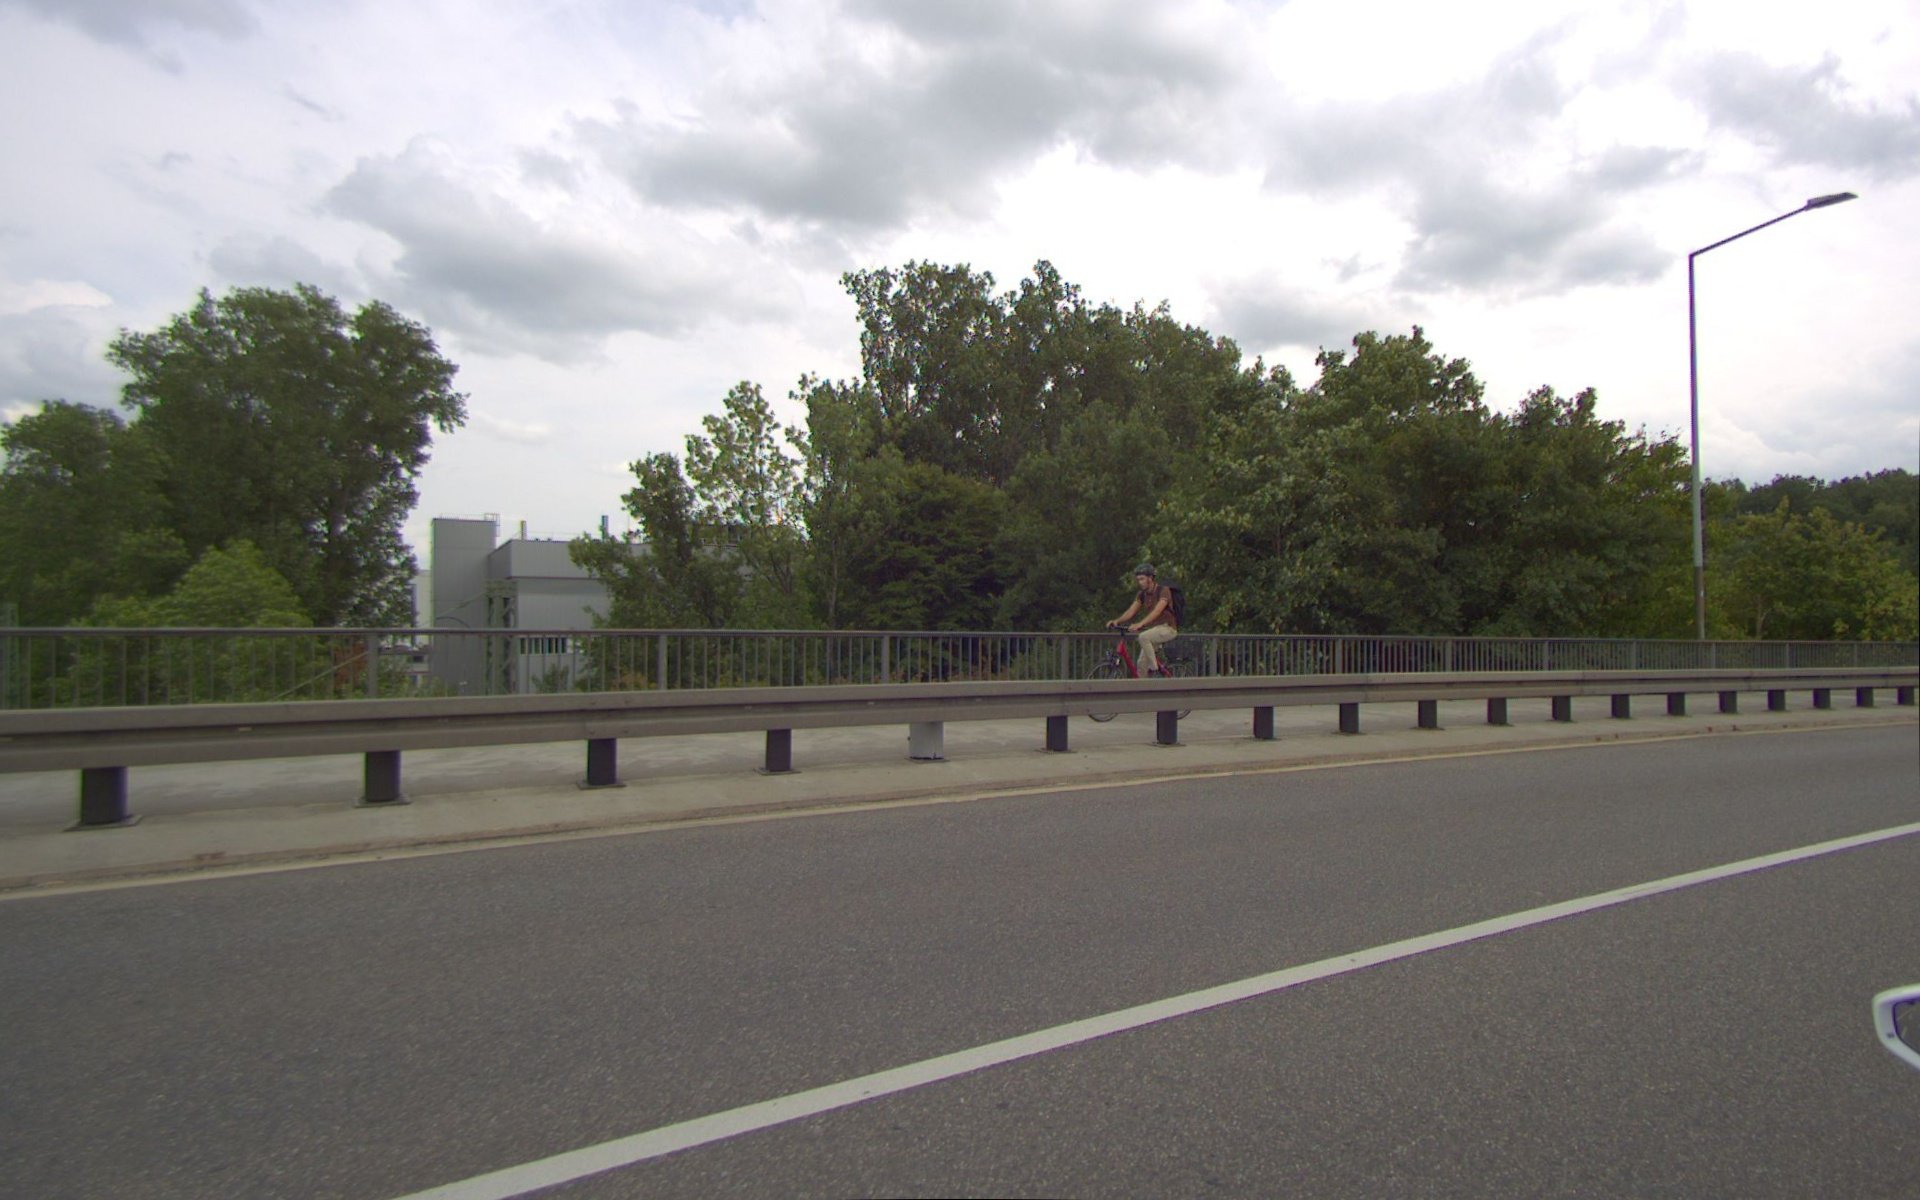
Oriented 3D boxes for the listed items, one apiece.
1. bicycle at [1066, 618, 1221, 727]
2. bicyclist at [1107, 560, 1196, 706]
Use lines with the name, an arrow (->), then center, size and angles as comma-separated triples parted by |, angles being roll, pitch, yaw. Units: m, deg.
bicycle -> 2.192, 0.828, 11.901 | 1.886, 1.189, 0.631 | 2, 0, -33
bicyclist -> 2.269, 0.387, 11.929 | 0.642, 1.653, 0.767 | 3, -1, -30
